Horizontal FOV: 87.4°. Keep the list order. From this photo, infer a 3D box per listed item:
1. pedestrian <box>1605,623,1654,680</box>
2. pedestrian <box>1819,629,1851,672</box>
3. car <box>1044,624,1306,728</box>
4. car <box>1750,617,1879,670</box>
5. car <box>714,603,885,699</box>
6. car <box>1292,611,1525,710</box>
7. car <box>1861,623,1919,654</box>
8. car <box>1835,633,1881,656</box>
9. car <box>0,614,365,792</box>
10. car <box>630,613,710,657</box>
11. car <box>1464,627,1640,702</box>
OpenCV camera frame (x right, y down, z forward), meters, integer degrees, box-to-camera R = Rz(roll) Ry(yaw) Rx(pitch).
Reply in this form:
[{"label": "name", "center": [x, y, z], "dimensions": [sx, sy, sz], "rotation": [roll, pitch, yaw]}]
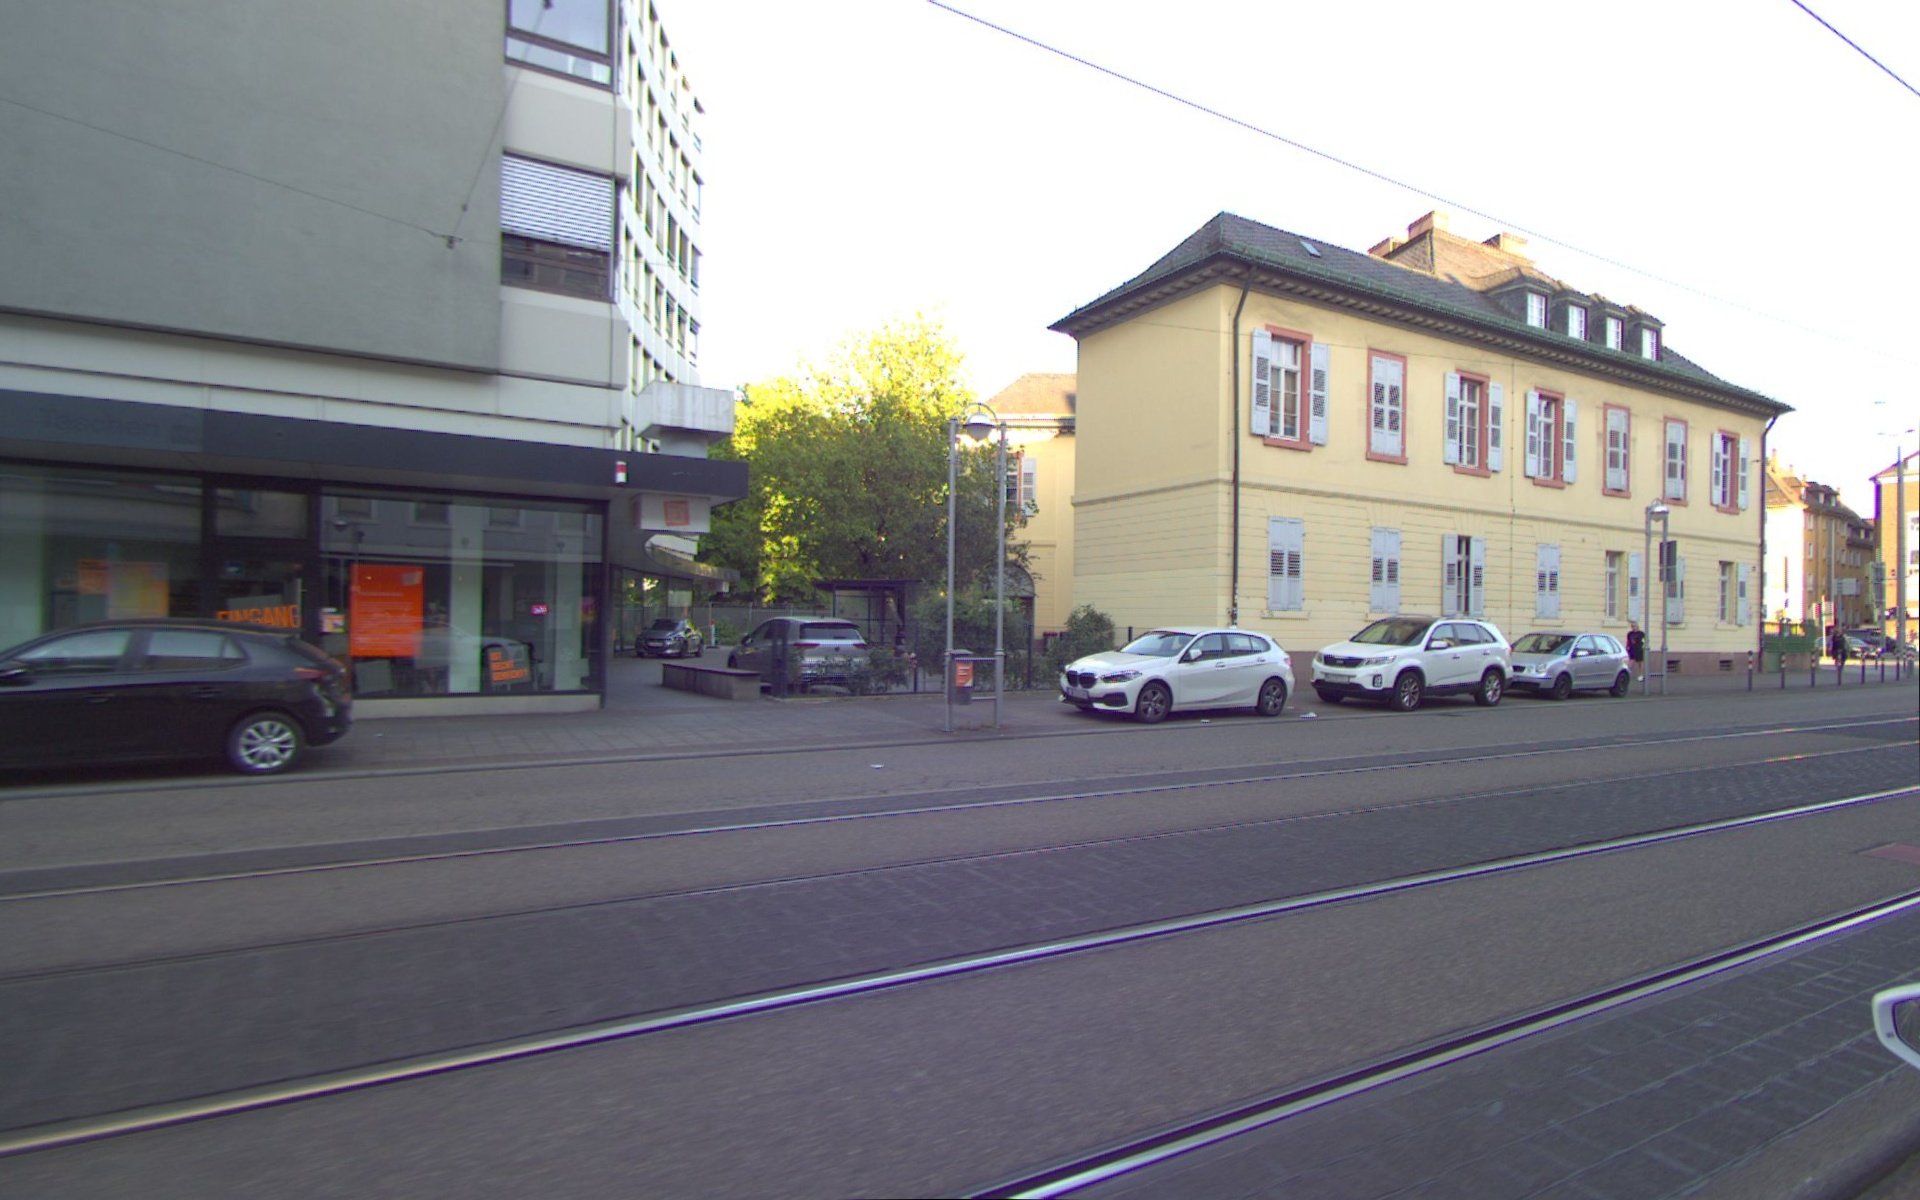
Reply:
[{"label": "pedestrian", "center": [19.087, 1.450, 28.633], "dimensions": [0.866, 1.562, 0.796], "rotation": [2, 0, -28]}, {"label": "pedestrian", "center": [31.993, 1.830, 36.730], "dimensions": [0.712, 1.556, 0.715], "rotation": [2, -2, -34]}, {"label": "car", "center": [3.618, 1.192, 16.705], "dimensions": [4.234, 1.472, 1.712], "rotation": [1, 1, -31]}, {"label": "car", "center": [35.070, 1.742, 41.292], "dimensions": [3.946, 2.040, 1.988], "rotation": [-1, -2, 44]}, {"label": "car", "center": [-3.237, 0.918, 19.637], "dimensions": [1.893, 1.574, 3.965], "rotation": [2, 0, -32]}, {"label": "car", "center": [8.856, 1.128, 19.705], "dimensions": [4.709, 1.683, 1.876], "rotation": [1, 1, -32]}, {"label": "car", "center": [66.045, 2.688, 70.154], "dimensions": [1.985, 2.063, 4.519], "rotation": [2, -2, -42]}, {"label": "car", "center": [56.728, 2.796, 63.519], "dimensions": [1.744, 1.394, 4.207], "rotation": [0, -1, 37]}, {"label": "car", "center": [-7.994, 0.903, 9.598], "dimensions": [3.919, 1.444, 1.683], "rotation": [1, 1, -30]}, {"label": "car", "center": [-10.585, 1.236, 36.930], "dimensions": [1.708, 1.418, 4.000], "rotation": [2, 0, 0]}, {"label": "car", "center": [13.392, 1.390, 22.686], "dimensions": [3.954, 1.494, 1.739], "rotation": [1, 1, -31]}]
